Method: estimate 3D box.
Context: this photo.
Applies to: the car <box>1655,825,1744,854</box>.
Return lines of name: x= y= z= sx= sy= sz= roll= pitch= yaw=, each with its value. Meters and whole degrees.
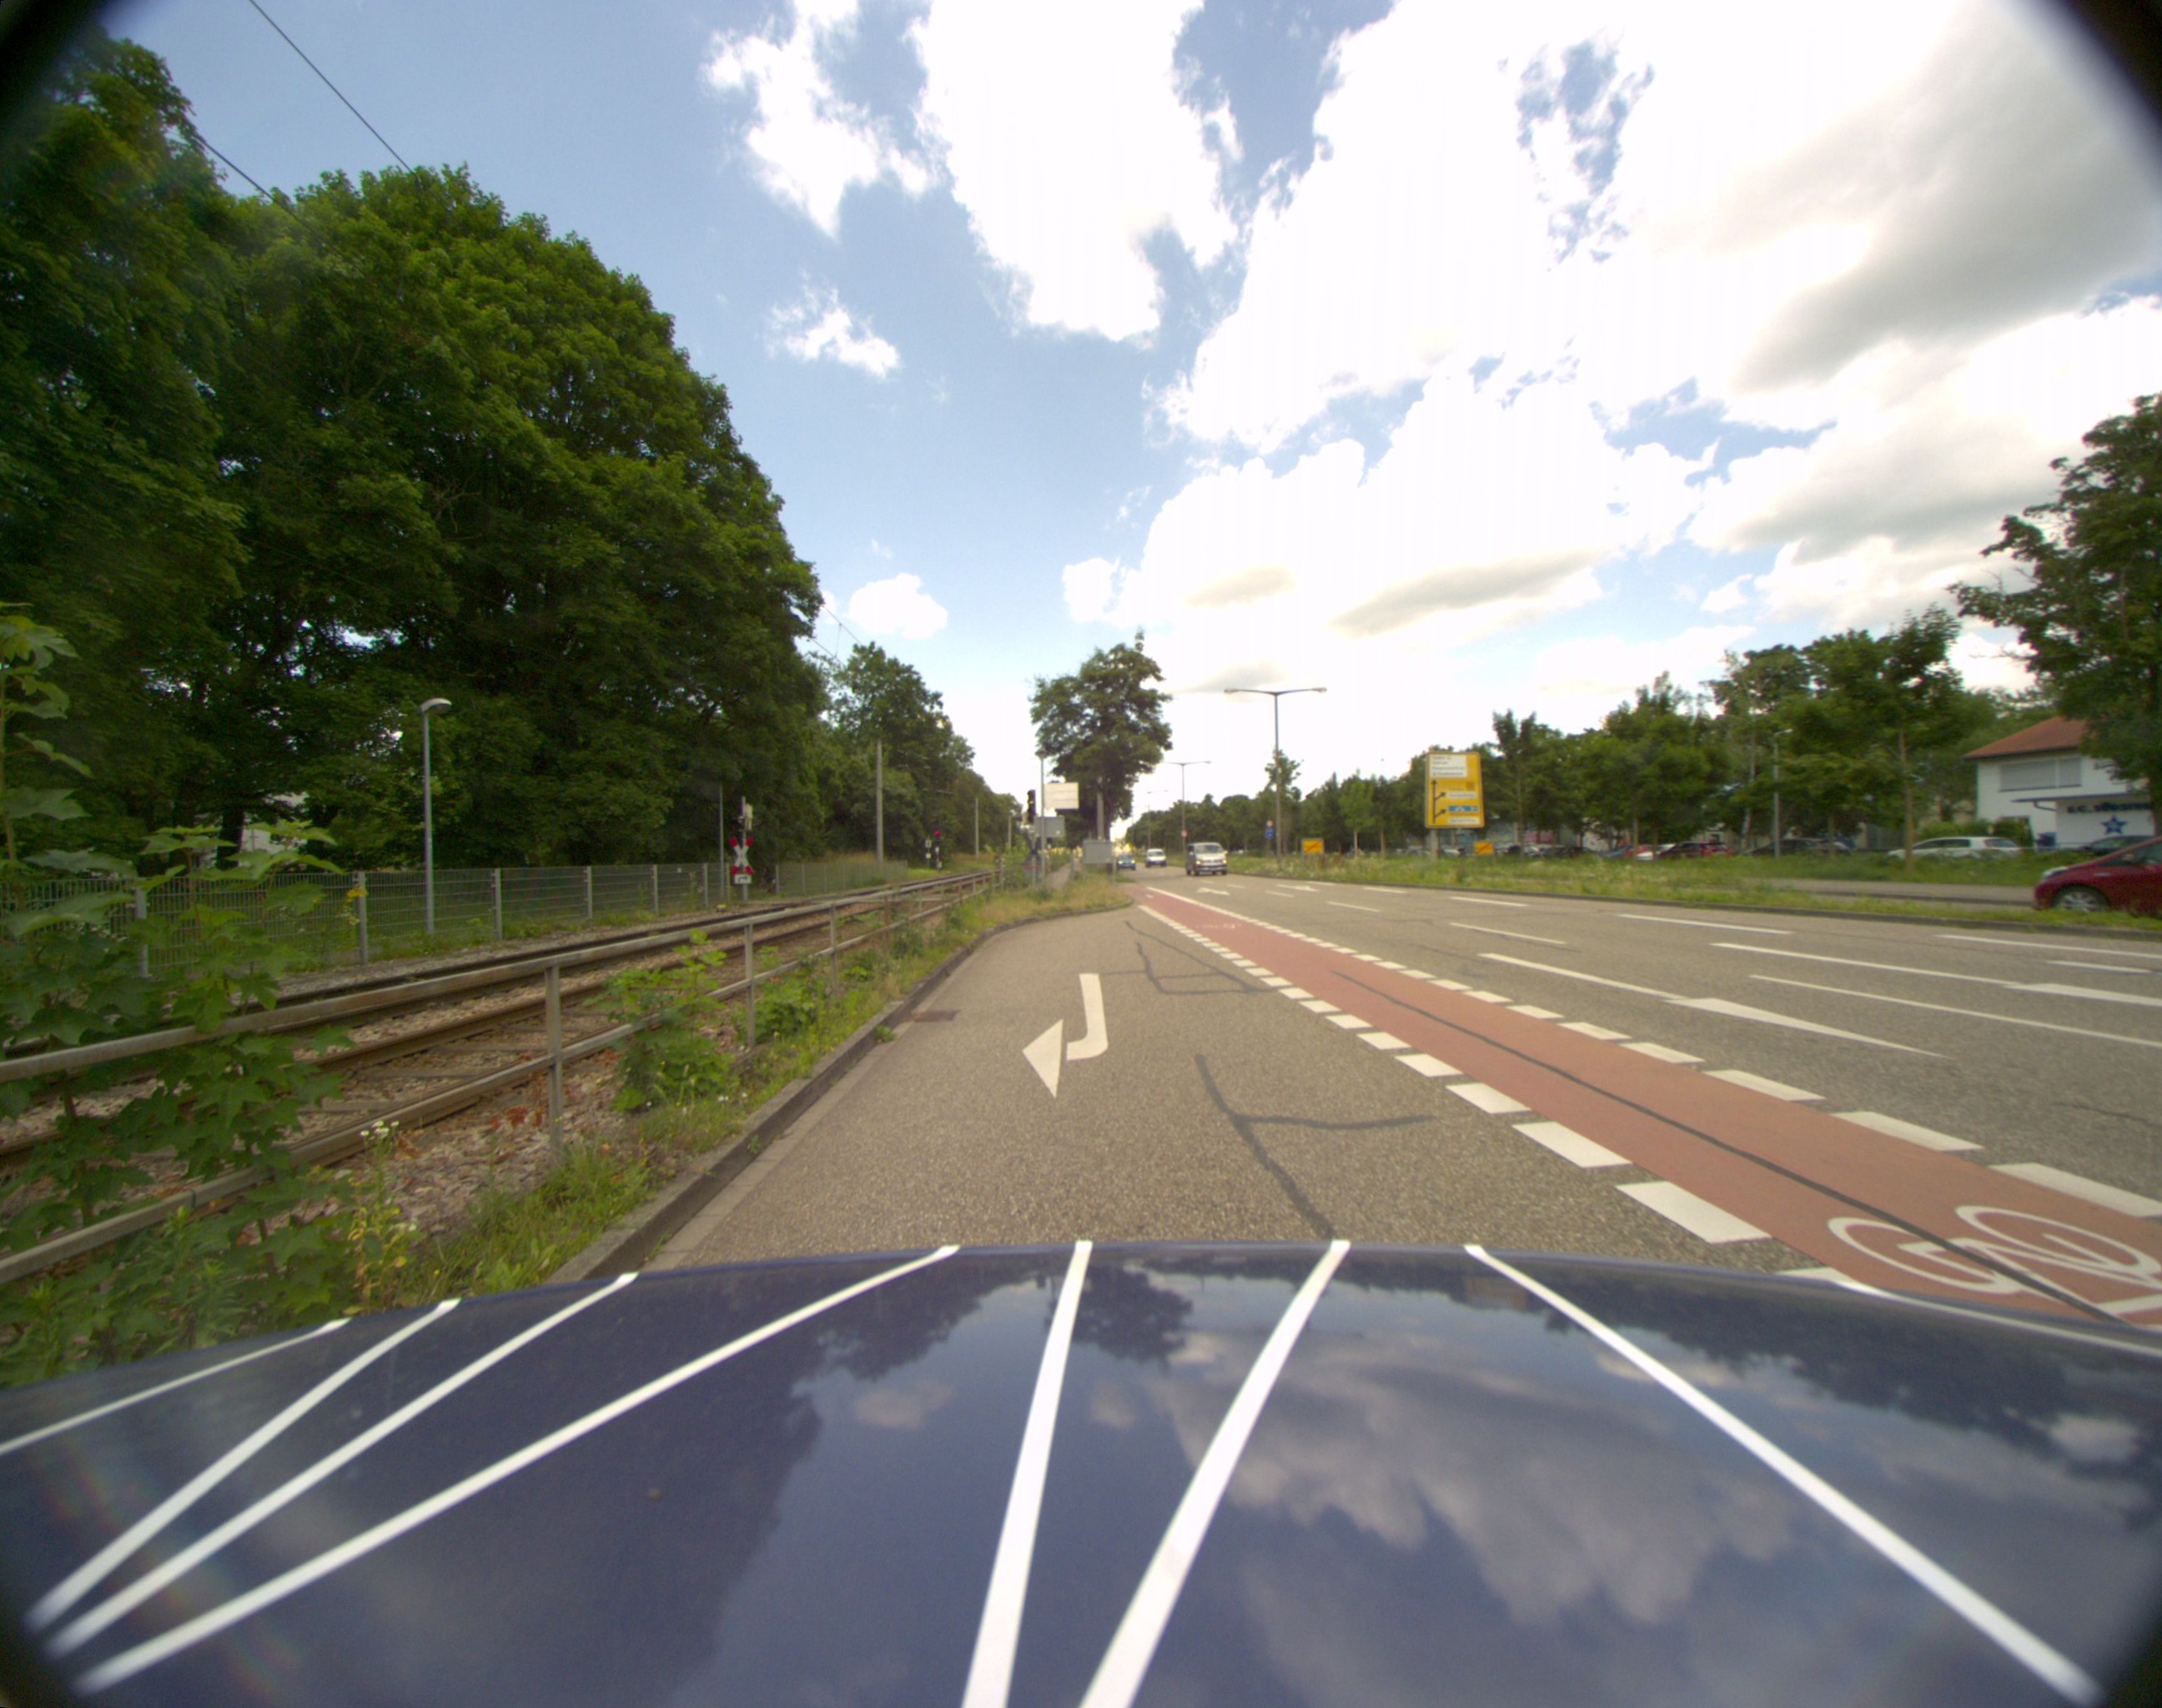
car: x=36.176 y=-0.842 z=44.607 sx=1.998 sy=1.578 sz=4.023 roll=-1 pitch=0 yaw=1

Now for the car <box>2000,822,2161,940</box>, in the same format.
car: x=15.657 y=0.353 z=10.111 sx=1.999 sy=1.608 sz=3.999 roll=-1 pitch=0 yaw=-1

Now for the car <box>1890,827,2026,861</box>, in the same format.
car: x=36.246 y=-0.410 z=31.539 sx=1.625 sy=1.324 sz=3.476 roll=-1 pitch=0 yaw=1

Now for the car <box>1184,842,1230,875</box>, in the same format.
car: x=7.594 y=0.235 z=46.303 sx=1.818 sy=1.907 sz=5.231 roll=-1 pitch=1 yaw=-2

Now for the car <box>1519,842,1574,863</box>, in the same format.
car: x=36.949 y=-0.127 z=60.436 sx=1.998 sy=1.578 sz=4.023 roll=-1 pitch=0 yaw=1

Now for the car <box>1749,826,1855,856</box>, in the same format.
car: x=36.152 y=-0.620 z=38.238 sx=1.729 sy=1.403 sz=3.866 roll=-1 pitch=0 yaw=1

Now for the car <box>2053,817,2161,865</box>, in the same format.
car: x=36.508 y=-0.445 z=25.835 sx=1.762 sy=1.578 sz=4.023 roll=-1 pitch=0 yaw=1

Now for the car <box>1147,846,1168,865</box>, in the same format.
car: x=7.509 y=0.121 z=74.713 sx=1.747 sy=1.775 sz=4.156 roll=-2 pitch=1 yaw=2
